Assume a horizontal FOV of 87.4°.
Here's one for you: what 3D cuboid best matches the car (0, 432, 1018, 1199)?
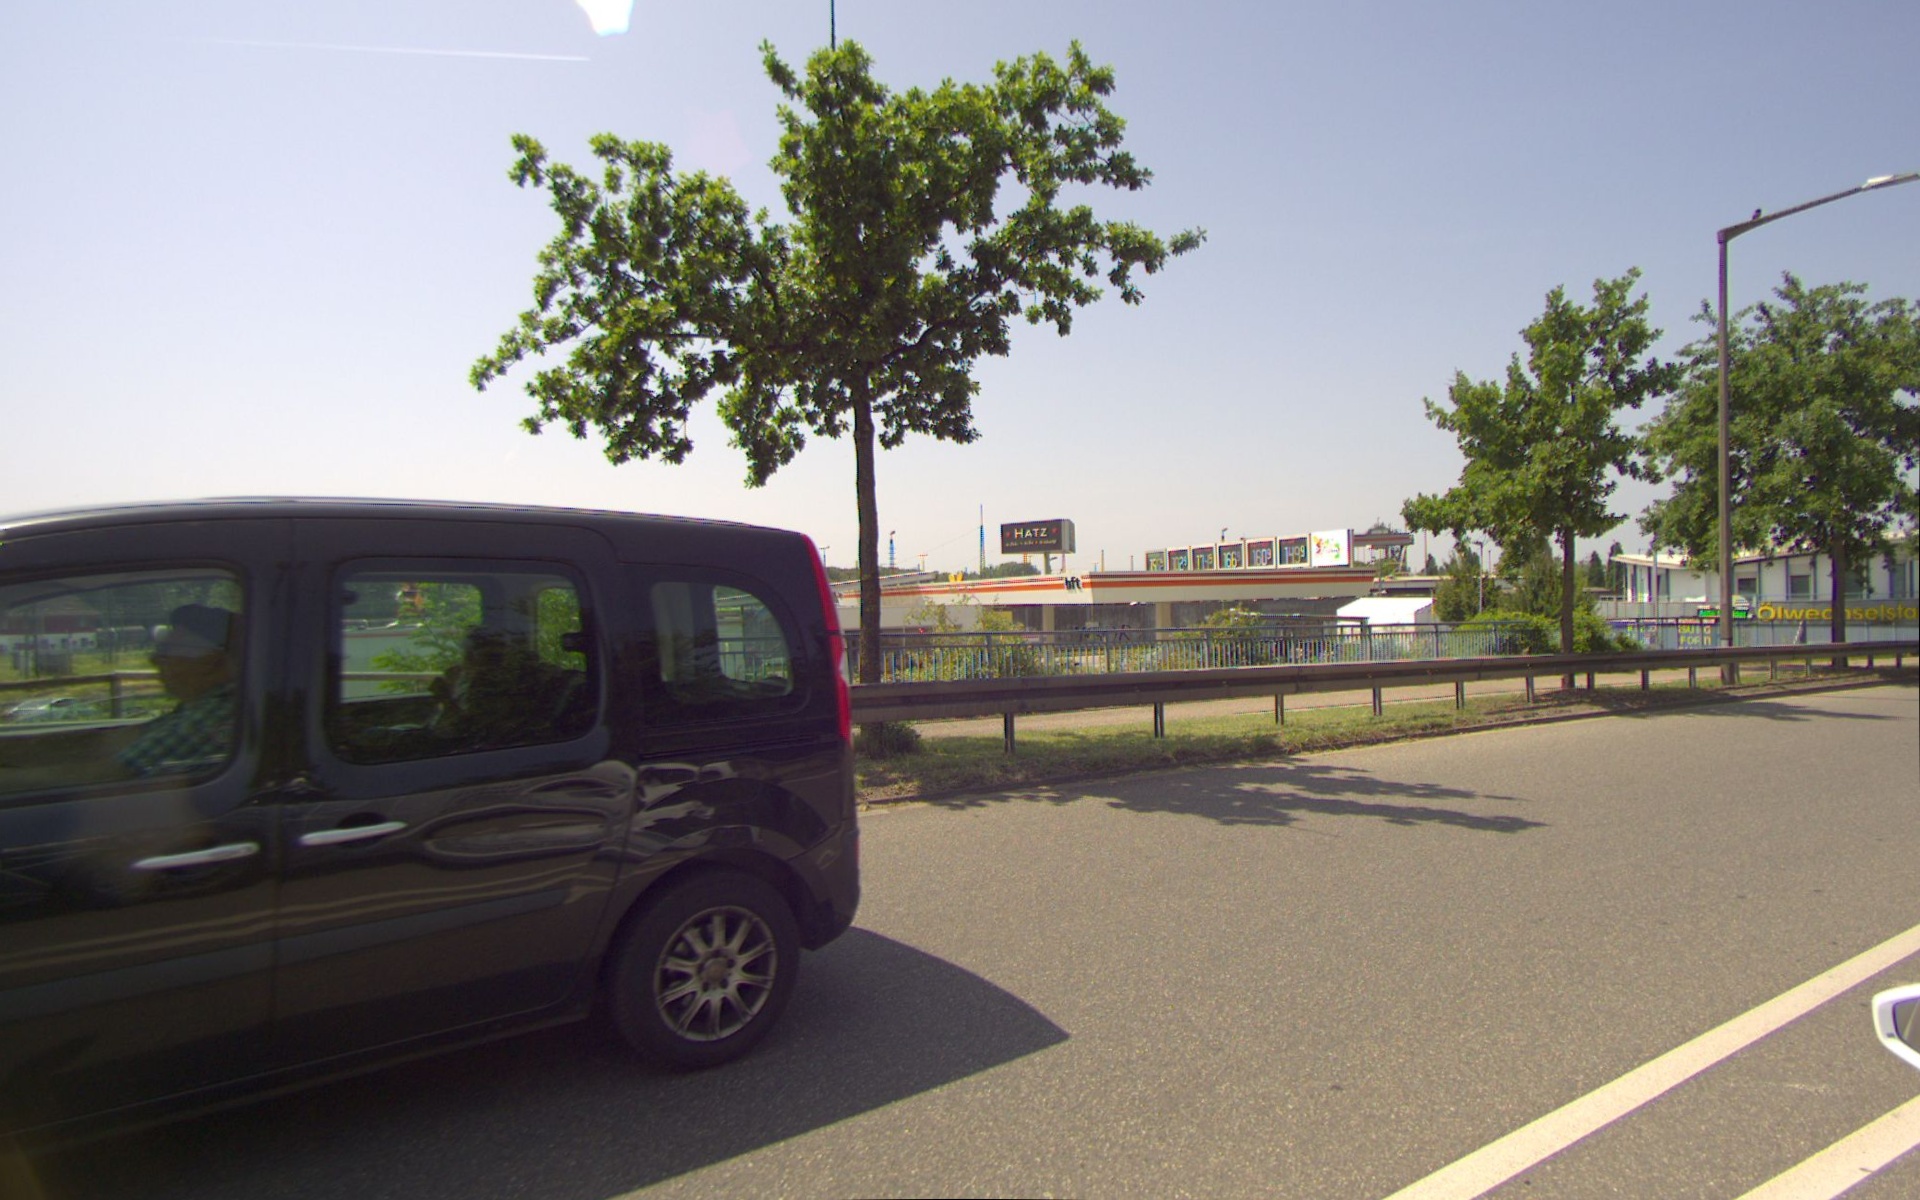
[{"bbox_3d":[-2.013,0.535,3.268,4.211,1.783,1.794,1,0,-36],"label":"car"}]
